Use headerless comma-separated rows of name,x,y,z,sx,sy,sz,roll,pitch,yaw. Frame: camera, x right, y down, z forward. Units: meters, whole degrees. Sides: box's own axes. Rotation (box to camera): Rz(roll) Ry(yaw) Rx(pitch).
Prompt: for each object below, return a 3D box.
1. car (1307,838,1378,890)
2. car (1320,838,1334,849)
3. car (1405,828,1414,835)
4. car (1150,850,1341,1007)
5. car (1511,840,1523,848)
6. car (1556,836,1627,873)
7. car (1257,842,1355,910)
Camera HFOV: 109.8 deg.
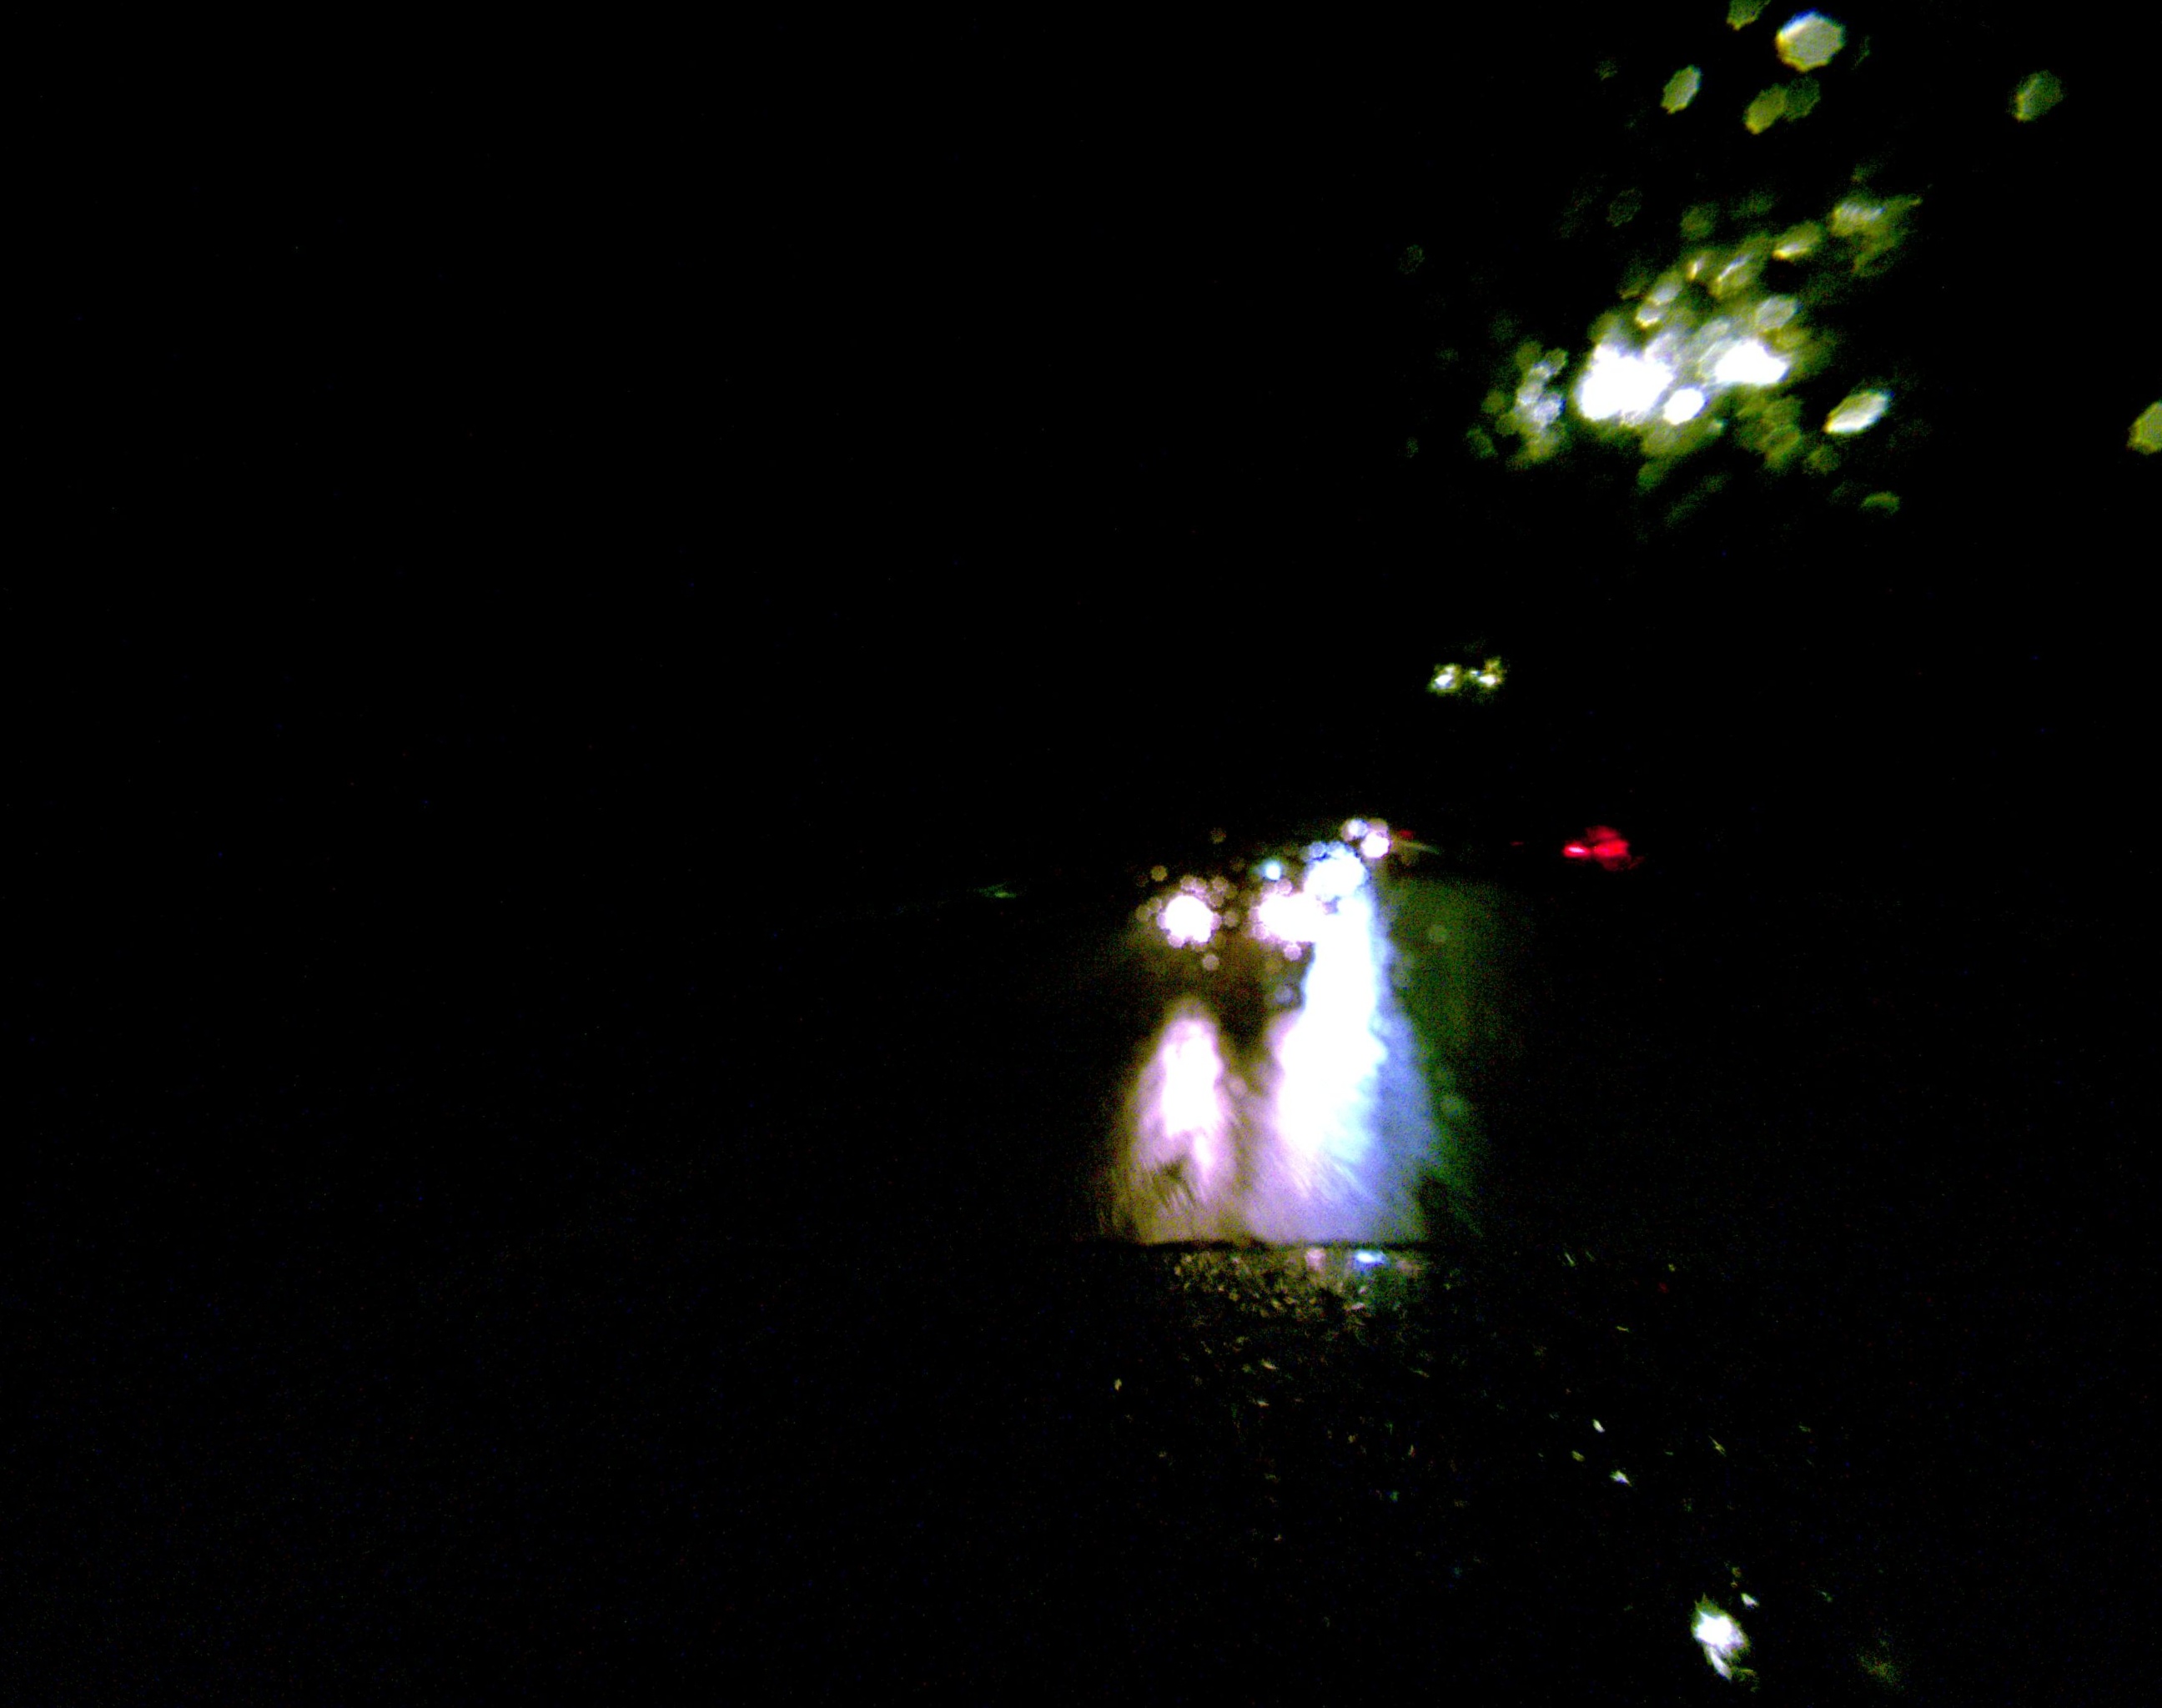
car,8.547,0.273,24.615,1.995,1.531,4.005,-1,1,21
car,40.407,-1.751,124.536,1.995,1.657,4.005,0,2,20
car,83.530,-5.640,193.407,1.785,1.638,4.005,-1,1,20
car,2.317,0.761,9.793,1.762,1.492,4.005,-1,1,21
car,100.730,-2.285,175.577,1.863,1.638,4.006,-1,1,24
car,22.761,-0.026,33.998,1.753,1.543,4.015,0,1,21
car,5.688,0.465,18.889,1.995,1.456,4.005,-1,1,21
